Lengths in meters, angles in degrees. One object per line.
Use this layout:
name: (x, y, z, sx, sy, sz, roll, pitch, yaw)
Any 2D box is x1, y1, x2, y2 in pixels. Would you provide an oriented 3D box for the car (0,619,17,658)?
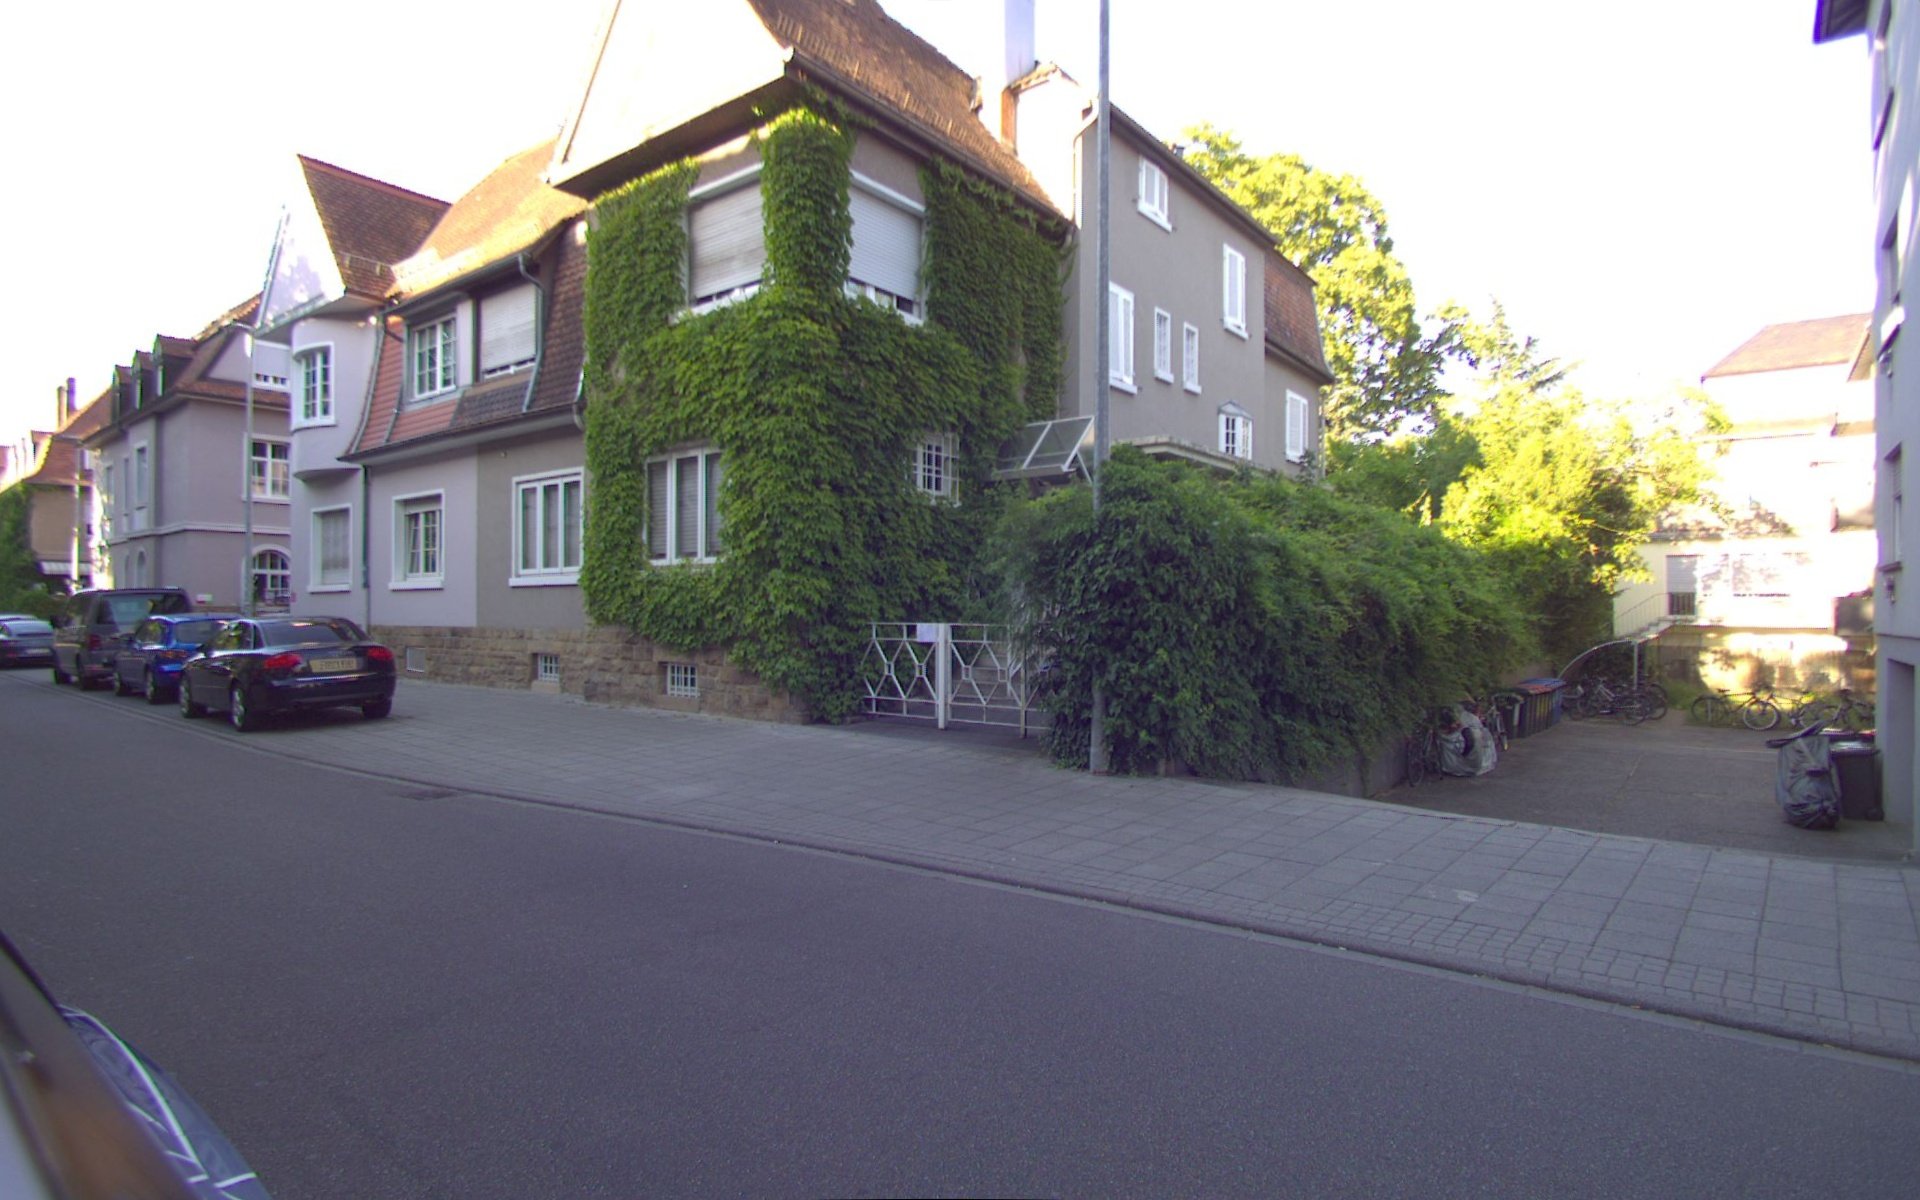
car: (-36.517, 1.442, 37.598, 3.942, 1.381, 1.698, -1, 1, 40)

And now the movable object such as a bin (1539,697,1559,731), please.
movable object such as a bin: (13.774, 2.657, 23.659, 0.346, 0.764, 0.359, -1, -4, 41)

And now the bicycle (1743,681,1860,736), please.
bicycle: (19.602, 2.516, 23.626, 2.068, 1.028, 0.634, 1, 3, 41)

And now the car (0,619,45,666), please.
car: (-30.254, 1.332, 31.915, 3.942, 1.381, 1.522, -1, 1, 40)

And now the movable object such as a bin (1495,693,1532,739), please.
movable object such as a bin: (11.535, 2.405, 21.097, 0.576, 0.886, 0.488, 0, -3, 41)

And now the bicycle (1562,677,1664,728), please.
bicycle: (16.265, 2.526, 25.260, 2.068, 1.028, 0.634, 1, 3, 41)

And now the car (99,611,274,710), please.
car: (-13.704, 0.980, 17.855, 4.021, 1.475, 1.591, 0, 2, 40)

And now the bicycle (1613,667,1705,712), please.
bicycle: (19.474, 2.484, 28.233, 2.068, 1.028, 0.561, 1, 3, 41)

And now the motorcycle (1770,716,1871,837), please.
motorcycle: (10.703, 2.153, 12.634, 0.757, 1.261, 1.575, -1, -3, 34)

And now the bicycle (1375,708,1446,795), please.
bicycle: (6.767, 2.227, 15.157, 0.514, 1.027, 1.914, 1, 0, 38)

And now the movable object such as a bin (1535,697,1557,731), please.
movable object such as a bin: (13.528, 2.628, 23.357, 0.367, 0.764, 0.359, -1, -4, 41)

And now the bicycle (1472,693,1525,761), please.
bicycle: (9.949, 2.314, 18.673, 0.514, 1.027, 1.914, 1, 0, 38)

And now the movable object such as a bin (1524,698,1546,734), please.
movable object such as a bin: (12.772, 2.574, 22.477, 0.381, 0.779, 0.359, -1, -4, 41)

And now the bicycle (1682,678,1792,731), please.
bicycle: (18.707, 2.495, 24.395, 2.068, 1.028, 0.634, 1, 3, 41)

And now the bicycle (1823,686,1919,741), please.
bicycle: (20.687, 2.537, 22.662, 2.068, 1.028, 0.634, 1, 3, 41)

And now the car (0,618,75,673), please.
car: (-26.367, 1.231, 28.352, 4.331, 1.381, 1.698, -1, 1, 40)

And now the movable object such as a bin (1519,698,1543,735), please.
movable object such as a bin: (12.515, 2.545, 22.188, 0.398, 0.779, 0.359, -1, -4, 41)

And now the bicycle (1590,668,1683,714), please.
bicycle: (18.648, 2.495, 27.947, 2.068, 1.028, 0.608, 1, 3, 41)

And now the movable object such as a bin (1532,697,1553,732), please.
movable object such as a bin: (13.276, 2.611, 23.060, 0.367, 0.764, 0.359, -1, -4, 41)

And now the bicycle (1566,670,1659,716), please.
bicycle: (17.690, 2.507, 27.474, 2.068, 1.028, 0.608, 1, 3, 41)

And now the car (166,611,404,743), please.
car: (-9.328, 0.923, 13.860, 4.023, 1.439, 1.729, 0, 2, 42)

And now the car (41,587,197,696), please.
car: (-17.478, 0.775, 20.957, 4.308, 1.987, 1.698, 0, 2, 40)

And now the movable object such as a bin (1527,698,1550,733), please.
movable object such as a bin: (13.014, 2.592, 22.766, 0.375, 0.764, 0.359, -1, -4, 41)

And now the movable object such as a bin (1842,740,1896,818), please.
movable object such as a bin: (11.754, 2.299, 13.100, 0.432, 0.894, 0.717, -1, -3, 37)

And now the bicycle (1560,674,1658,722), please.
bicycle: (16.830, 2.519, 26.272, 2.068, 1.028, 0.565, 1, 3, 41)
